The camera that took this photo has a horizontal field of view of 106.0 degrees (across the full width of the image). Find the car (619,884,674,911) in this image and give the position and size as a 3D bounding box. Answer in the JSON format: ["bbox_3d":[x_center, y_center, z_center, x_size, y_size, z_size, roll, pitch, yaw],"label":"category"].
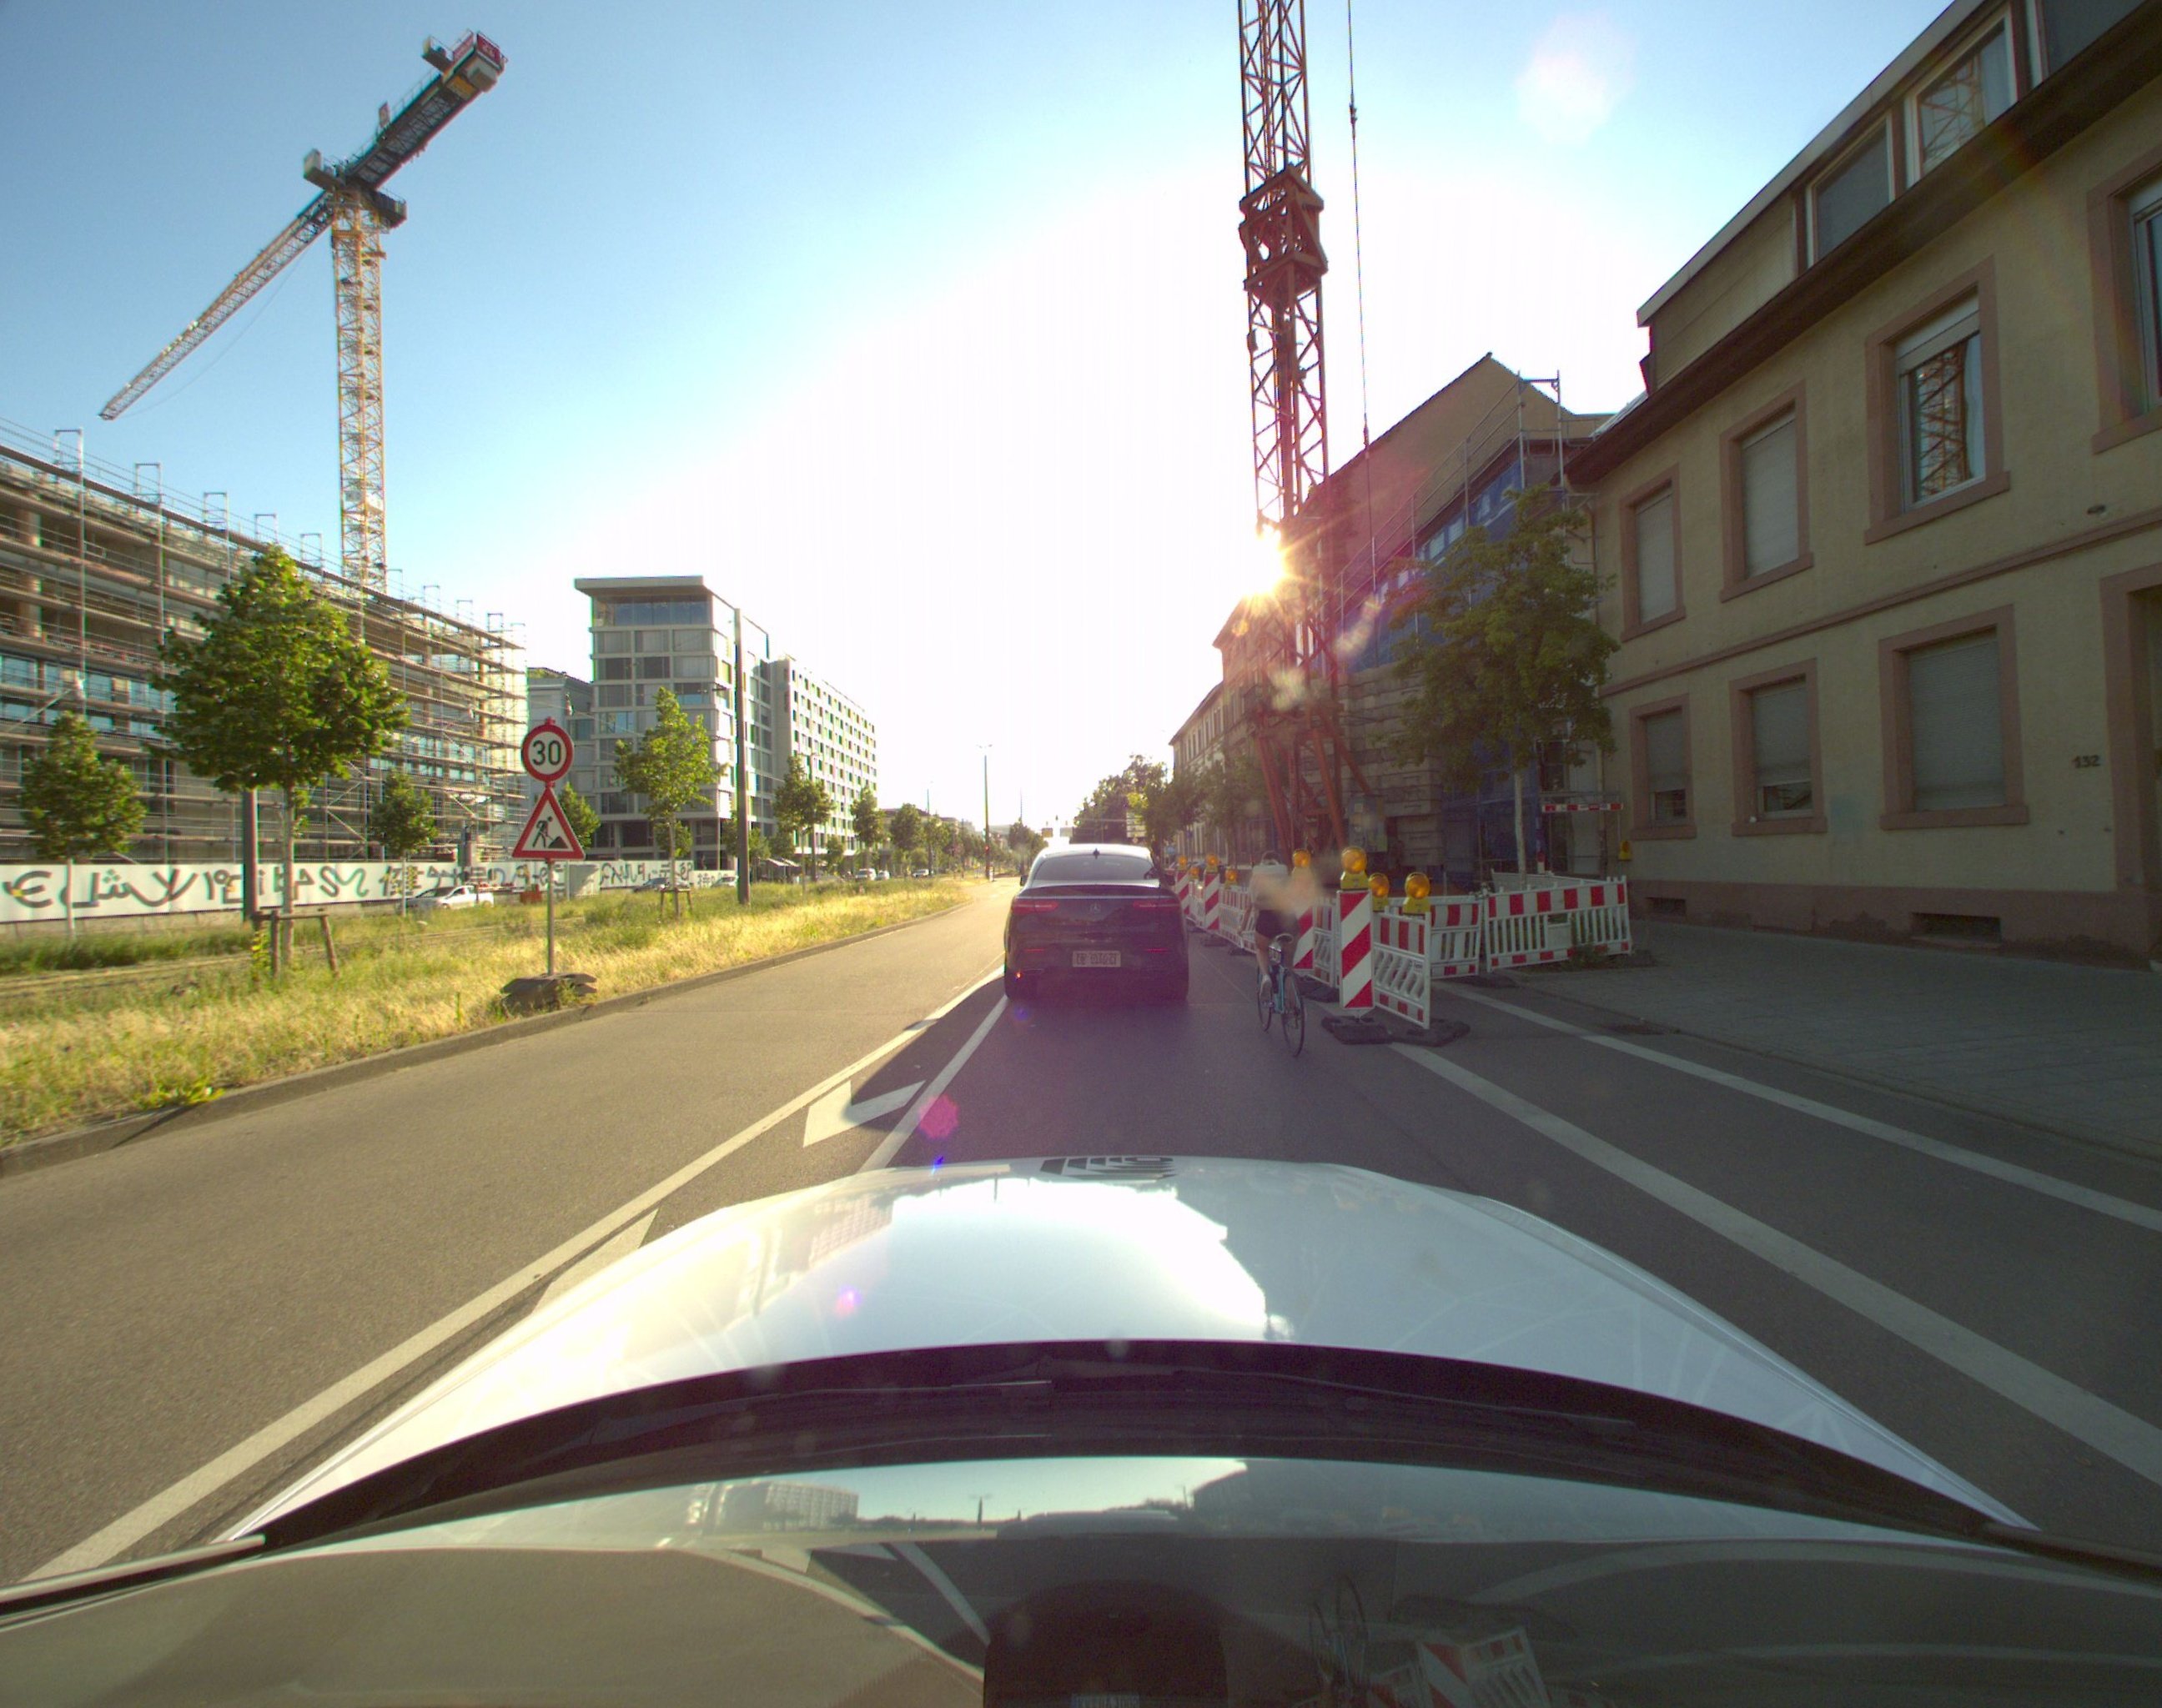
[{"bbox_3d":[-29.977,2.956,56.349,1.784,1.684,3.638,-1,-1,1],"label":"car"}]

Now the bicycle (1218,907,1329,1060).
[{"bbox_3d":[1.595,1.029,6.994,0.511,1.052,1.724,-1,-1,-1],"label":"bicycle"}]

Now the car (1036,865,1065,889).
[{"bbox_3d":[-1.931,1.438,52.708,1.703,1.442,3.581,-1,0,0],"label":"car"}]

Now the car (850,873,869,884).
[{"bbox_3d":[-32.079,3.552,118.080,1.703,1.442,3.581,-1,-1,0],"label":"car"}]

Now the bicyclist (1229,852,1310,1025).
[{"bbox_3d":[1.591,0.687,6.932,0.521,1.395,0.614,-1,-1,-1],"label":"bicyclist"}]

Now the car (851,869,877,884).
[{"bbox_3d":[-25.944,2.662,97.472,1.782,1.684,3.643,-1,-1,5],"label":"car"}]

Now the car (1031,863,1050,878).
[{"bbox_3d":[-4.055,1.622,81.683,1.703,1.442,3.581,-1,-1,0],"label":"car"}]

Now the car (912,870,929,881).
[{"bbox_3d":[-22.585,3.027,114.999,1.703,1.442,3.581,-1,-1,0],"label":"car"}]

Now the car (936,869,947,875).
[{"bbox_3d":[-30.865,3.979,180.171,1.703,1.442,3.581,-1,-1,0],"label":"car"}]

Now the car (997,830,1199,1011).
[{"bbox_3d":[0.232,0.685,10.081,1.986,1.772,4.001,-1,-1,2],"label":"car"}]

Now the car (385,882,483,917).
[{"bbox_3d":[-30.028,2.092,37.956,1.703,1.442,3.581,-1,-1,0],"label":"car"}]

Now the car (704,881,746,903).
[{"bbox_3d":[-29.546,3.127,67.704,1.784,1.684,3.638,-1,-1,1],"label":"car"}]

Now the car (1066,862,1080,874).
[{"bbox_3d":[-0.934,1.691,97.801,1.703,1.442,3.581,-1,-1,0],"label":"car"}]
